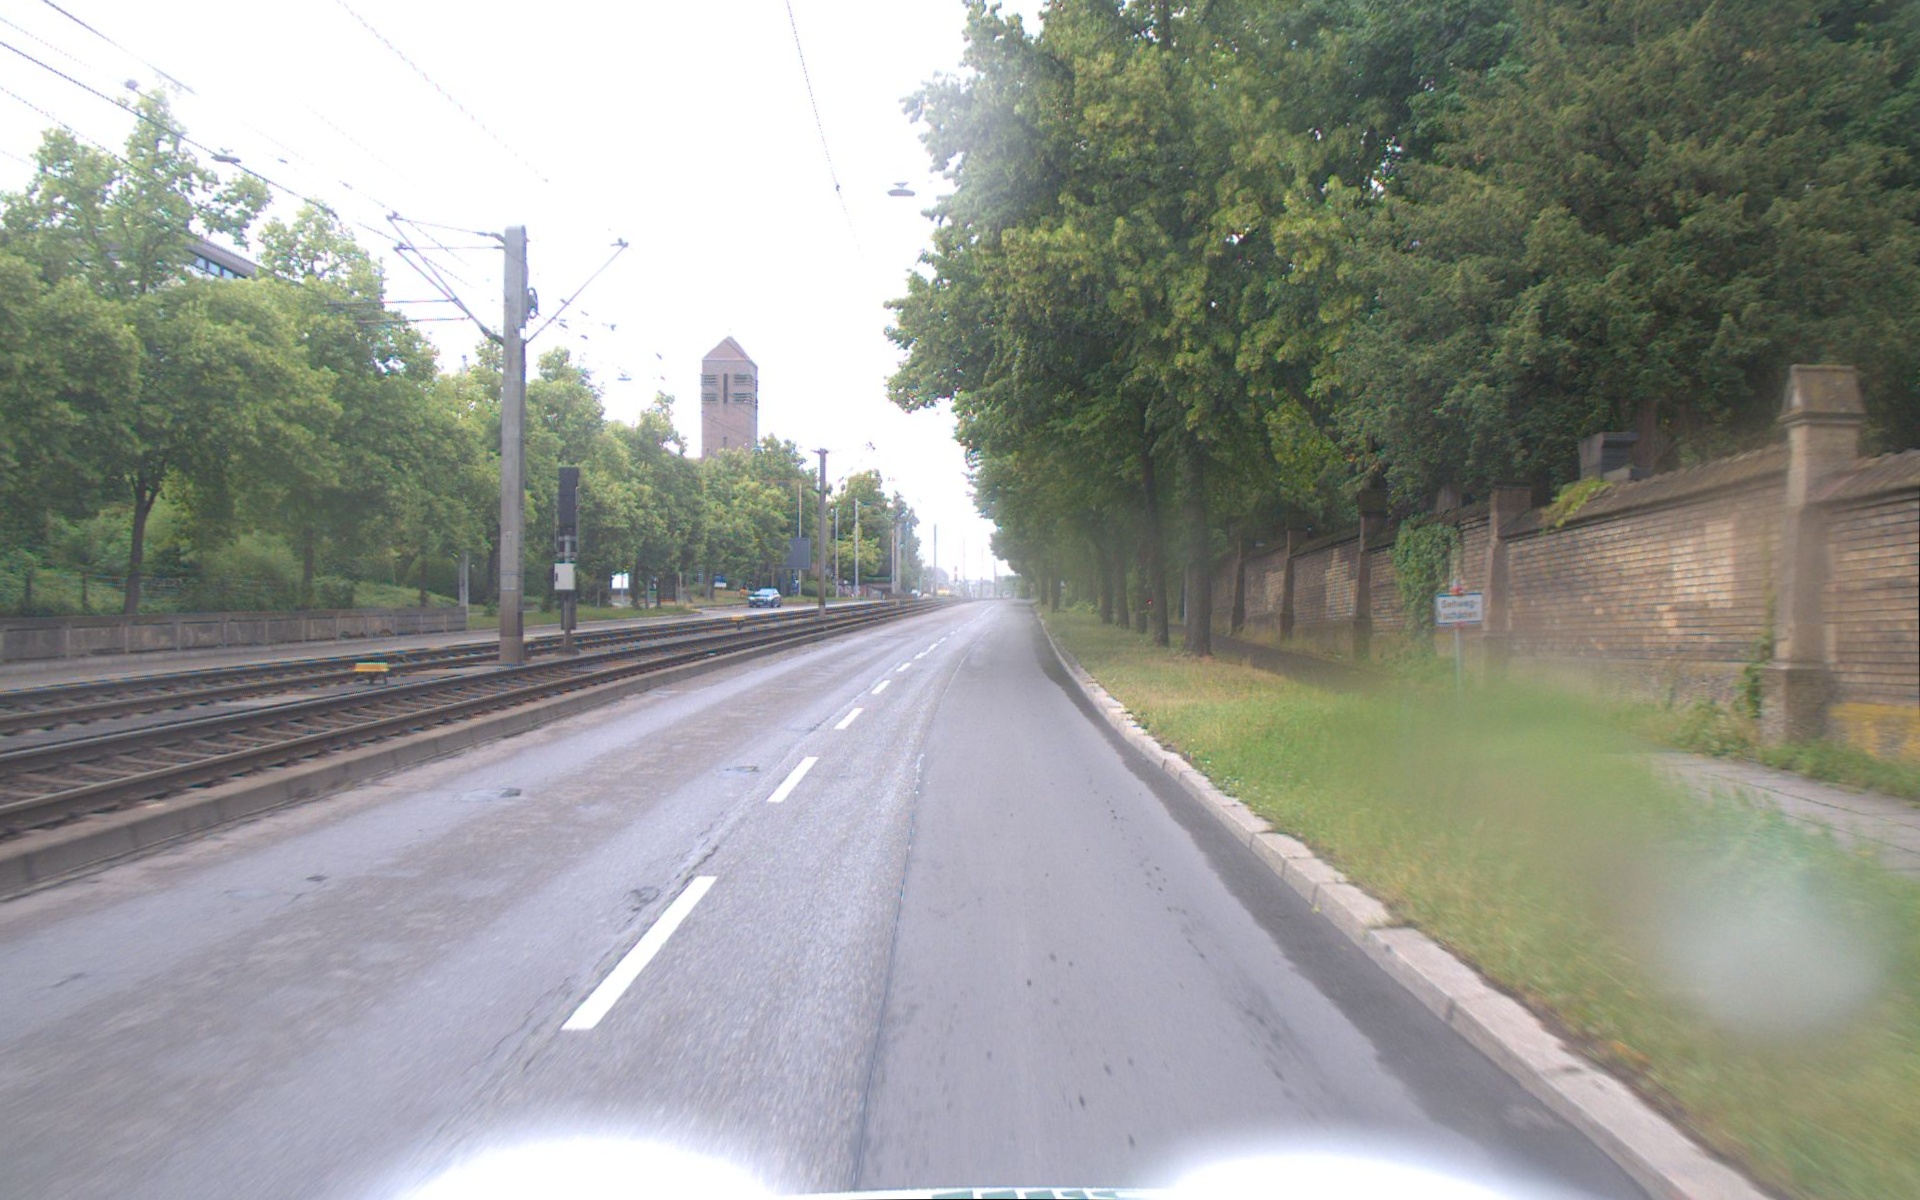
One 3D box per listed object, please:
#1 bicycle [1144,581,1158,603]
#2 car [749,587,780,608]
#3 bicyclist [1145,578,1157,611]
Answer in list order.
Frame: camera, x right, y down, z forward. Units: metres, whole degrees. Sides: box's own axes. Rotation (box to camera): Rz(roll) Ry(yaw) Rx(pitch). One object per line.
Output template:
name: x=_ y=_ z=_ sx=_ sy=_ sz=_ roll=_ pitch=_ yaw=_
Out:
bicycle: x=8.207 y=-0.344 z=71.130 sx=0.531 sy=0.964 sz=2.551 roll=0 pitch=0 yaw=5
car: x=-15.057 y=-0.188 z=127.425 sx=1.757 sy=1.557 sz=4.622 roll=0 pitch=0 yaw=1
bicyclist: x=8.231 y=-0.241 z=71.327 sx=0.523 sy=1.414 sz=0.667 roll=0 pitch=0 yaw=5
